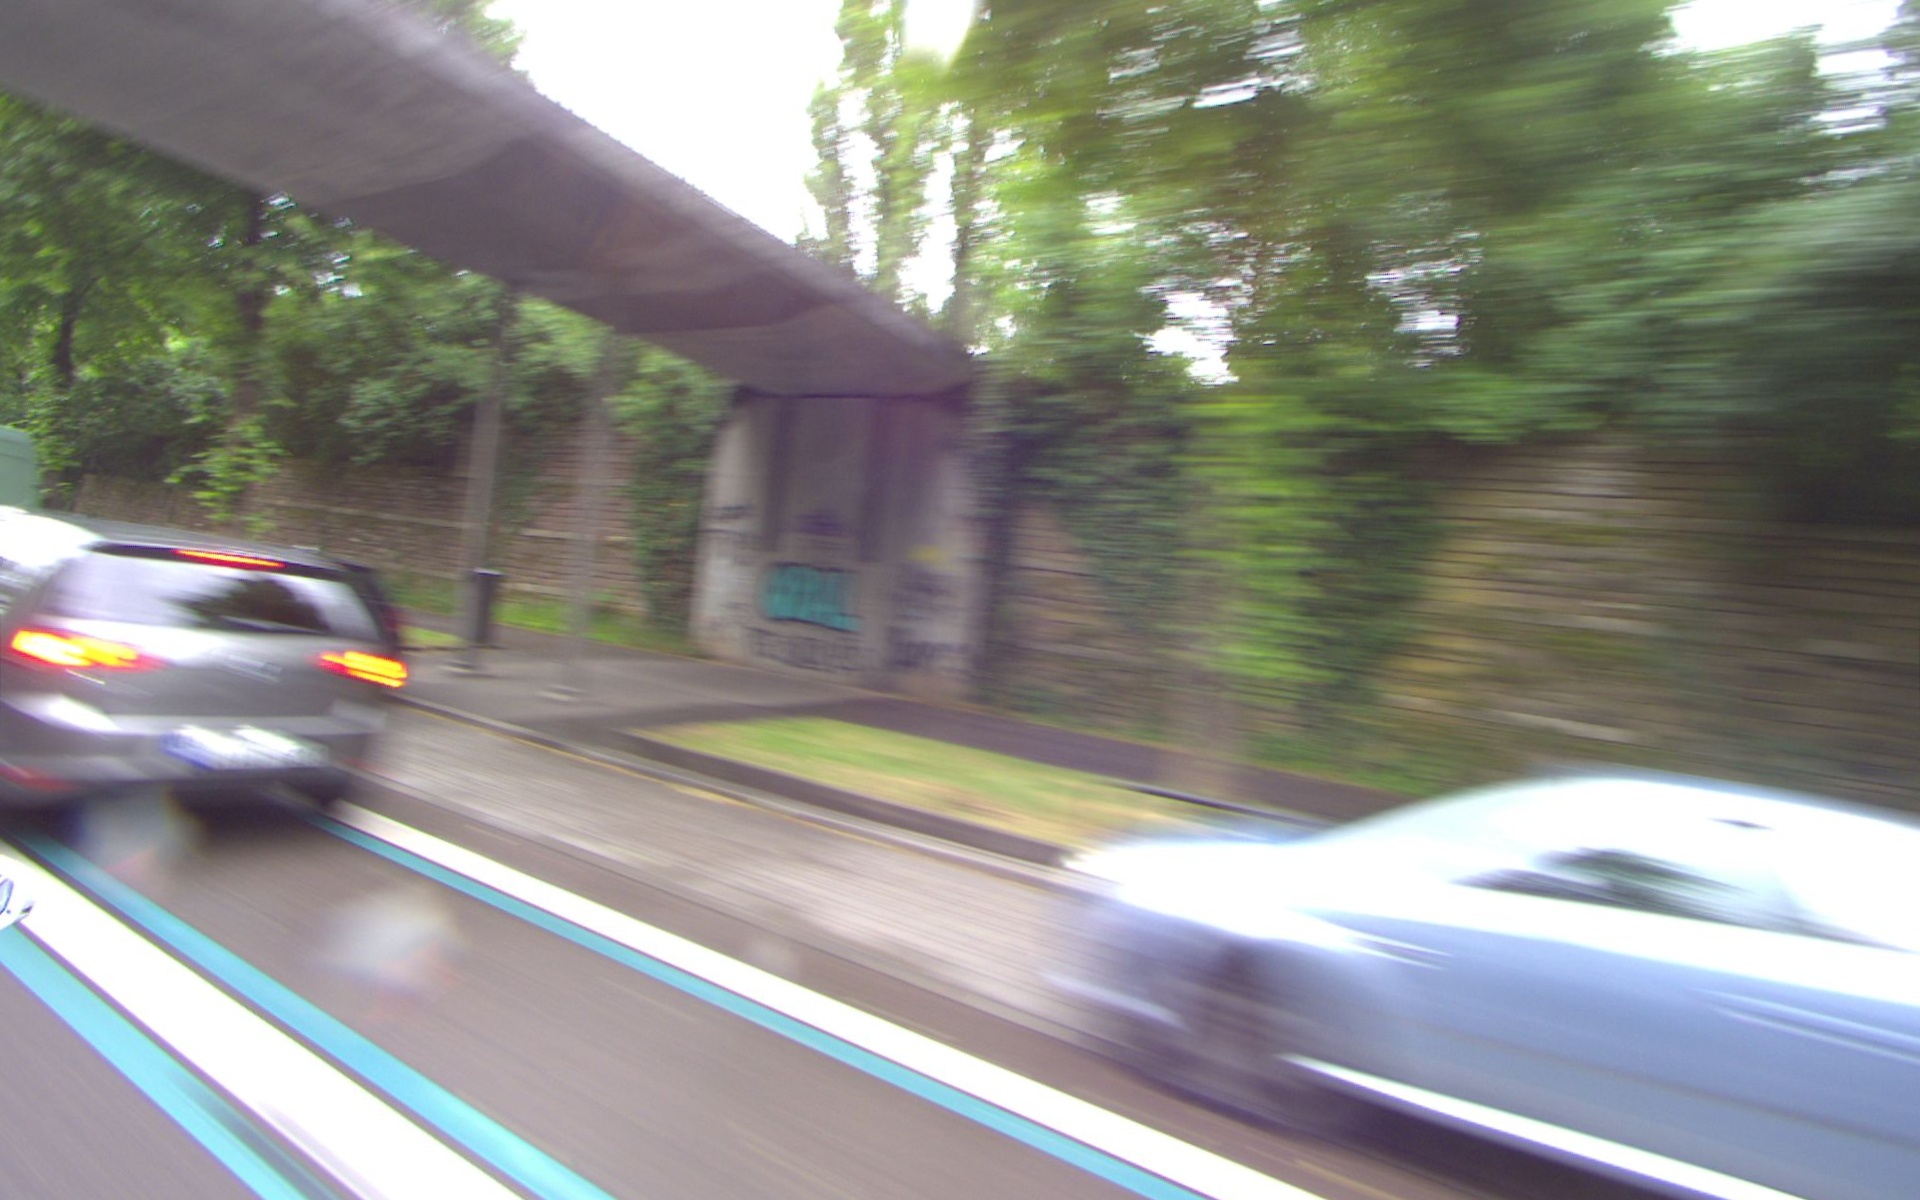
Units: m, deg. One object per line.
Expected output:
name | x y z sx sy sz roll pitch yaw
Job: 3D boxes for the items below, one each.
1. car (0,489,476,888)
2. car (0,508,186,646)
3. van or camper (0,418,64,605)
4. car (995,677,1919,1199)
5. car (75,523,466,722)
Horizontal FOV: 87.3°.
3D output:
car | -4.840 0.232 5.713 4.072 1.526 1.820 7 -1 33
car | -12.016 -0.404 13.107 4.033 1.433 1.689 6 -2 33
van or camper | -17.670 -1.744 16.720 6.786 2.760 2.047 7 -2 32
car | 2.235 1.247 3.527 3.797 1.368 1.588 7 -2 30
car | -7.108 0.171 10.258 4.128 1.434 1.688 7 0 32
